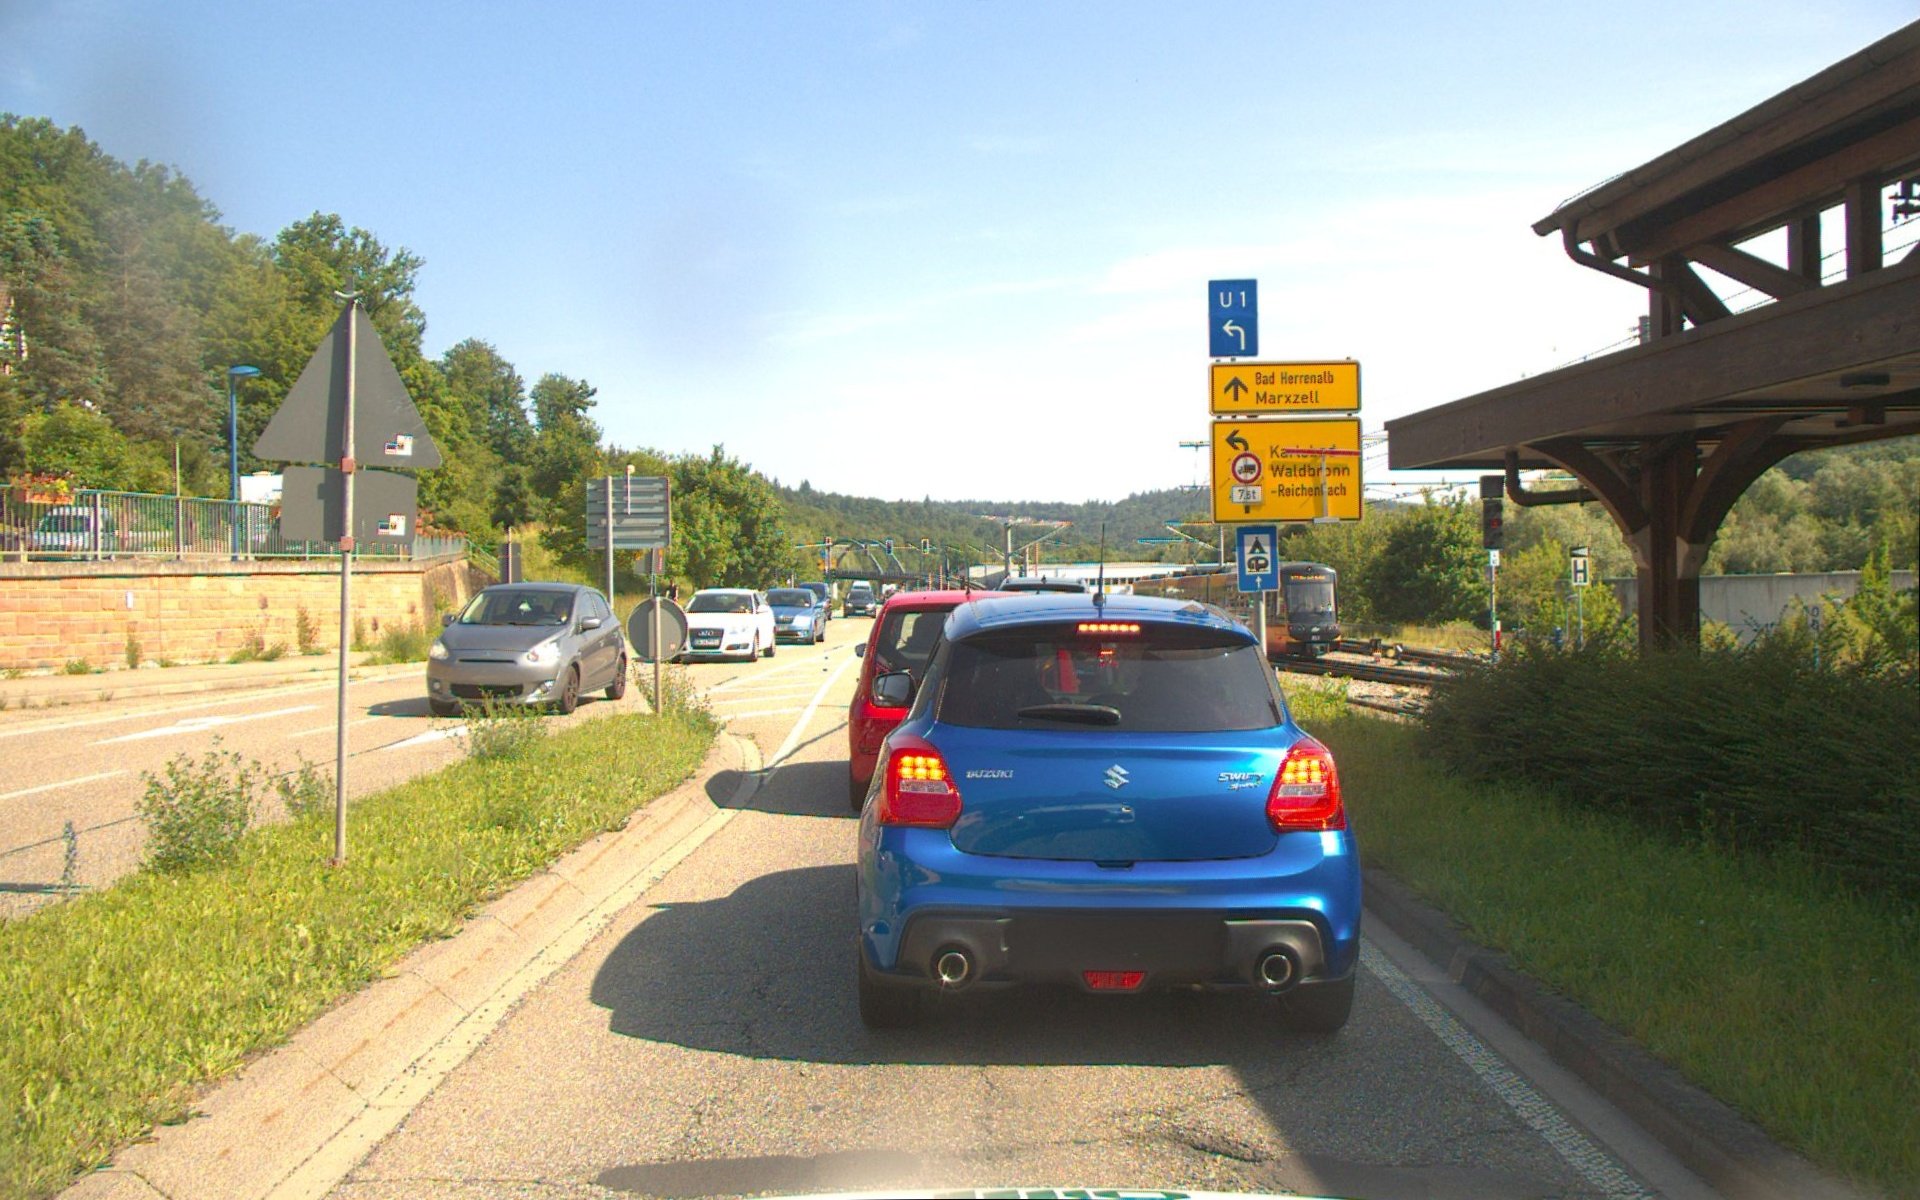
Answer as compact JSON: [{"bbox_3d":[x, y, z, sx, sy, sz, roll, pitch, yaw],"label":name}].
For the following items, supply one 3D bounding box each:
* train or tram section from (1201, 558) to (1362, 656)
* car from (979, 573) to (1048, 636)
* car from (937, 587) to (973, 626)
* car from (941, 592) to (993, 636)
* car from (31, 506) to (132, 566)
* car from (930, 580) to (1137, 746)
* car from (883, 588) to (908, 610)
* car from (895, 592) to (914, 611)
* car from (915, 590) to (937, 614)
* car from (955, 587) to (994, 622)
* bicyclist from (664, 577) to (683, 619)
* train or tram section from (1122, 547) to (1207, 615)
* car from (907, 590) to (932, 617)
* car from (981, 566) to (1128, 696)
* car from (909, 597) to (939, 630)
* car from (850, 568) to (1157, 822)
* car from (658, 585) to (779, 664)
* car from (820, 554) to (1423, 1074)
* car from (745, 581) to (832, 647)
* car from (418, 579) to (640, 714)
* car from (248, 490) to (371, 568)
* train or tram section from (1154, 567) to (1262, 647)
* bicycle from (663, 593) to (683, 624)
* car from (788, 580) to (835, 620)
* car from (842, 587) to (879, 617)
[{"bbox_3d":[12.458,0.200,65.896,2.799,3.423,14.344,1,0,-3],"label":"train or tram section"},{"bbox_3d":[1.572,0.112,49.763,1.952,1.766,4.000,2,1,1],"label":"car"},{"bbox_3d":[-0.328,0.329,94.929,1.953,2.048,4.000,2,1,-1],"label":"car"},{"bbox_3d":[0.297,0.494,60.899,1.794,1.456,3.812,2,1,1],"label":"car"},{"bbox_3d":[-26.146,-1.866,49.344,1.864,1.658,3.982,0,1,-16],"label":"car"},{"bbox_3d":[0.724,0.573,17.983,1.952,1.558,4.602,0,1,1],"label":"car"},{"bbox_3d":[-5.419,-0.090,140.060,1.953,1.814,3.999,1,0,-1],"label":"car"},{"bbox_3d":[-6.155,0.154,184.237,1.953,2.048,4.000,2,1,-1],"label":"car"},{"bbox_3d":[-3.246,0.172,157.675,1.953,2.048,4.000,2,1,-1],"label":"car"},{"bbox_3d":[0.742,0.187,80.672,1.794,1.519,3.812,2,1,1],"label":"car"},{"bbox_3d":[-10.675,-0.072,61.684,0.617,1.533,0.505,2,1,-4],"label":"bicyclist"},{"bbox_3d":[11.061,-1.016,90.858,2.700,3.423,12.043,2,0,-2],"label":"train or tram section"},{"bbox_3d":[-3.340,0.262,136.198,1.953,2.048,4.000,2,1,-1],"label":"car"},{"bbox_3d":[1.320,0.399,24.820,1.952,1.716,4.497,2,1,1],"label":"car"},{"bbox_3d":[-2.411,0.871,112.674,1.953,2.048,4.000,2,1,-1],"label":"car"},{"bbox_3d":[0.309,0.611,12.709,1.952,1.598,4.000,1,0,1],"label":"car"},{"bbox_3d":[-4.809,0.450,33.444,1.795,1.393,3.950,1,1,1],"label":"car"},{"bbox_3d":[0.447,0.639,7.041,1.830,1.575,3.999,1,0,-2],"label":"car"},{"bbox_3d":[-4.506,0.331,43.933,1.795,1.493,3.812,2,3,1],"label":"car"},{"bbox_3d":[-5.110,0.509,20.117,1.637,1.466,3.840,1,0,1],"label":"car"},{"bbox_3d":[-17.728,-1.907,45.300,1.982,1.953,4.724,2,1,-7],"label":"car"},{"bbox_3d":[11.628,0.319,78.918,2.731,3.423,12.041,2,0,-3],"label":"train or tram section"},{"bbox_3d":[-10.698,0.311,61.670,0.555,1.061,1.550,2,1,-4],"label":"bicycle"},{"bbox_3d":[-7.012,-0.040,78.622,1.795,1.743,3.811,2,1,1],"label":"car"},{"bbox_3d":[-5.270,0.104,88.017,1.795,1.456,3.810,2,1,-2],"label":"car"}]
